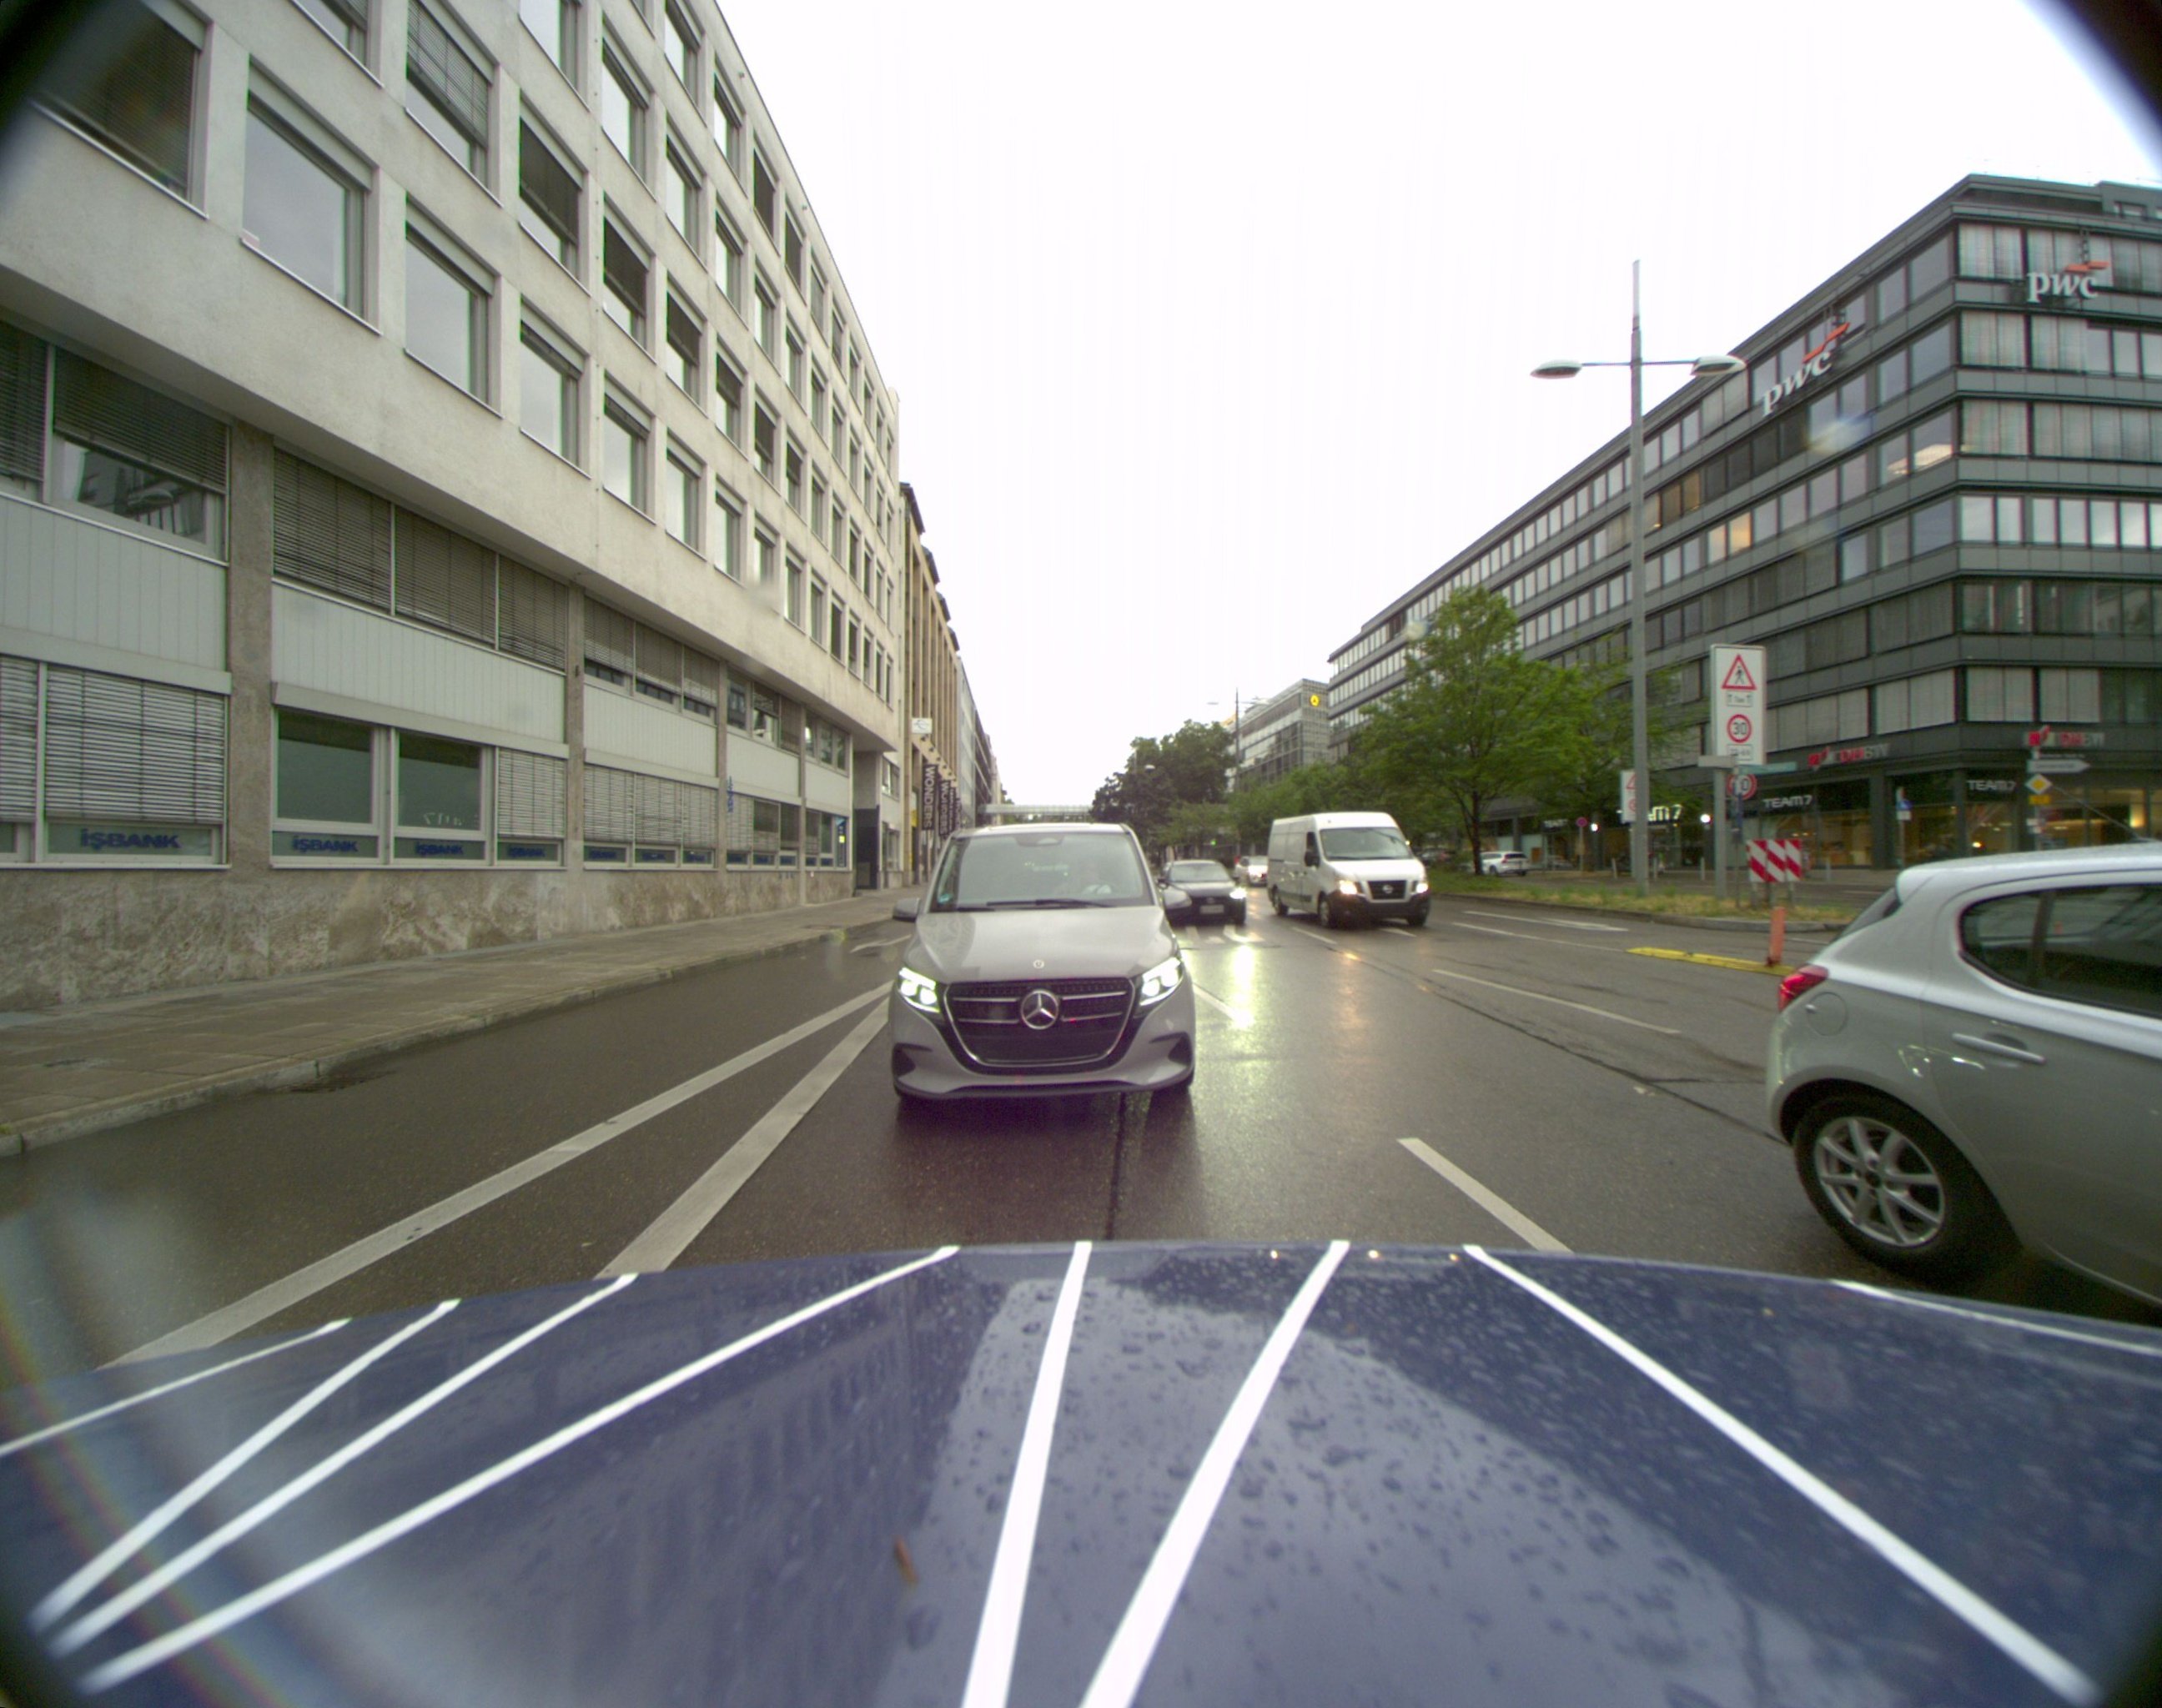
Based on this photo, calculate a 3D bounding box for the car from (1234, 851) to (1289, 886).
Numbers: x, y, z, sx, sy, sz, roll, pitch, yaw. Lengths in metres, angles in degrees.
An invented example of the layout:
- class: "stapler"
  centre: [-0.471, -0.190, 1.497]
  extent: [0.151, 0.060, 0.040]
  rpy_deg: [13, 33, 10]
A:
- class: "car"
  centre: [8.801, 0.673, 37.285]
  extent: [1.766, 1.608, 3.495]
  rpy_deg: [-2, 0, -1]

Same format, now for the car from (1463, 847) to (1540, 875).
- class: "car"
  centre: [24.092, 0.385, 43.663]
  extent: [1.999, 1.498, 3.999]
  rpy_deg: [-2, 0, -4]

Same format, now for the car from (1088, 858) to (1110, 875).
- class: "car"
  centre: [1.571, 1.093, 66.997]
  extent: [1.776, 1.372, 4.094]
  rpy_deg: [-2, 0, -1]

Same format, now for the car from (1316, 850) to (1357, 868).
- class: "car"
  centre: [22.381, 0.452, 66.666]
  extent: [1.999, 1.498, 3.999]
  rpy_deg: [-2, 0, -4]

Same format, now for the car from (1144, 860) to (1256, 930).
- class: "car"
  centre: [2.732, 0.884, 18.309]
  extent: [1.776, 1.427, 4.093]
  rpy_deg: [-2, 0, -4]

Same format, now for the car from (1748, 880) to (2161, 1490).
- class: "car"
  centre: [3.499, 0.839, 1.079]
  extent: [1.652, 1.427, 3.875]
  rpy_deg: [-2, 0, 0]

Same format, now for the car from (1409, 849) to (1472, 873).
- class: "car"
  centre: [23.634, 0.443, 50.121]
  extent: [1.999, 1.498, 4.106]
  rpy_deg: [-2, 0, -4]

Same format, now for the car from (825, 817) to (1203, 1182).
- class: "car"
  centre: [-0.364, 0.770, 6.499]
  extent: [1.916, 1.844, 5.026]
  rpy_deg: [-2, 0, 0]

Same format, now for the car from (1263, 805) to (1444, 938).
- class: "car"
  centre: [5.762, 0.328, 16.958]
  extent: [1.951, 2.426, 5.480]
  rpy_deg: [-2, 0, 0]
